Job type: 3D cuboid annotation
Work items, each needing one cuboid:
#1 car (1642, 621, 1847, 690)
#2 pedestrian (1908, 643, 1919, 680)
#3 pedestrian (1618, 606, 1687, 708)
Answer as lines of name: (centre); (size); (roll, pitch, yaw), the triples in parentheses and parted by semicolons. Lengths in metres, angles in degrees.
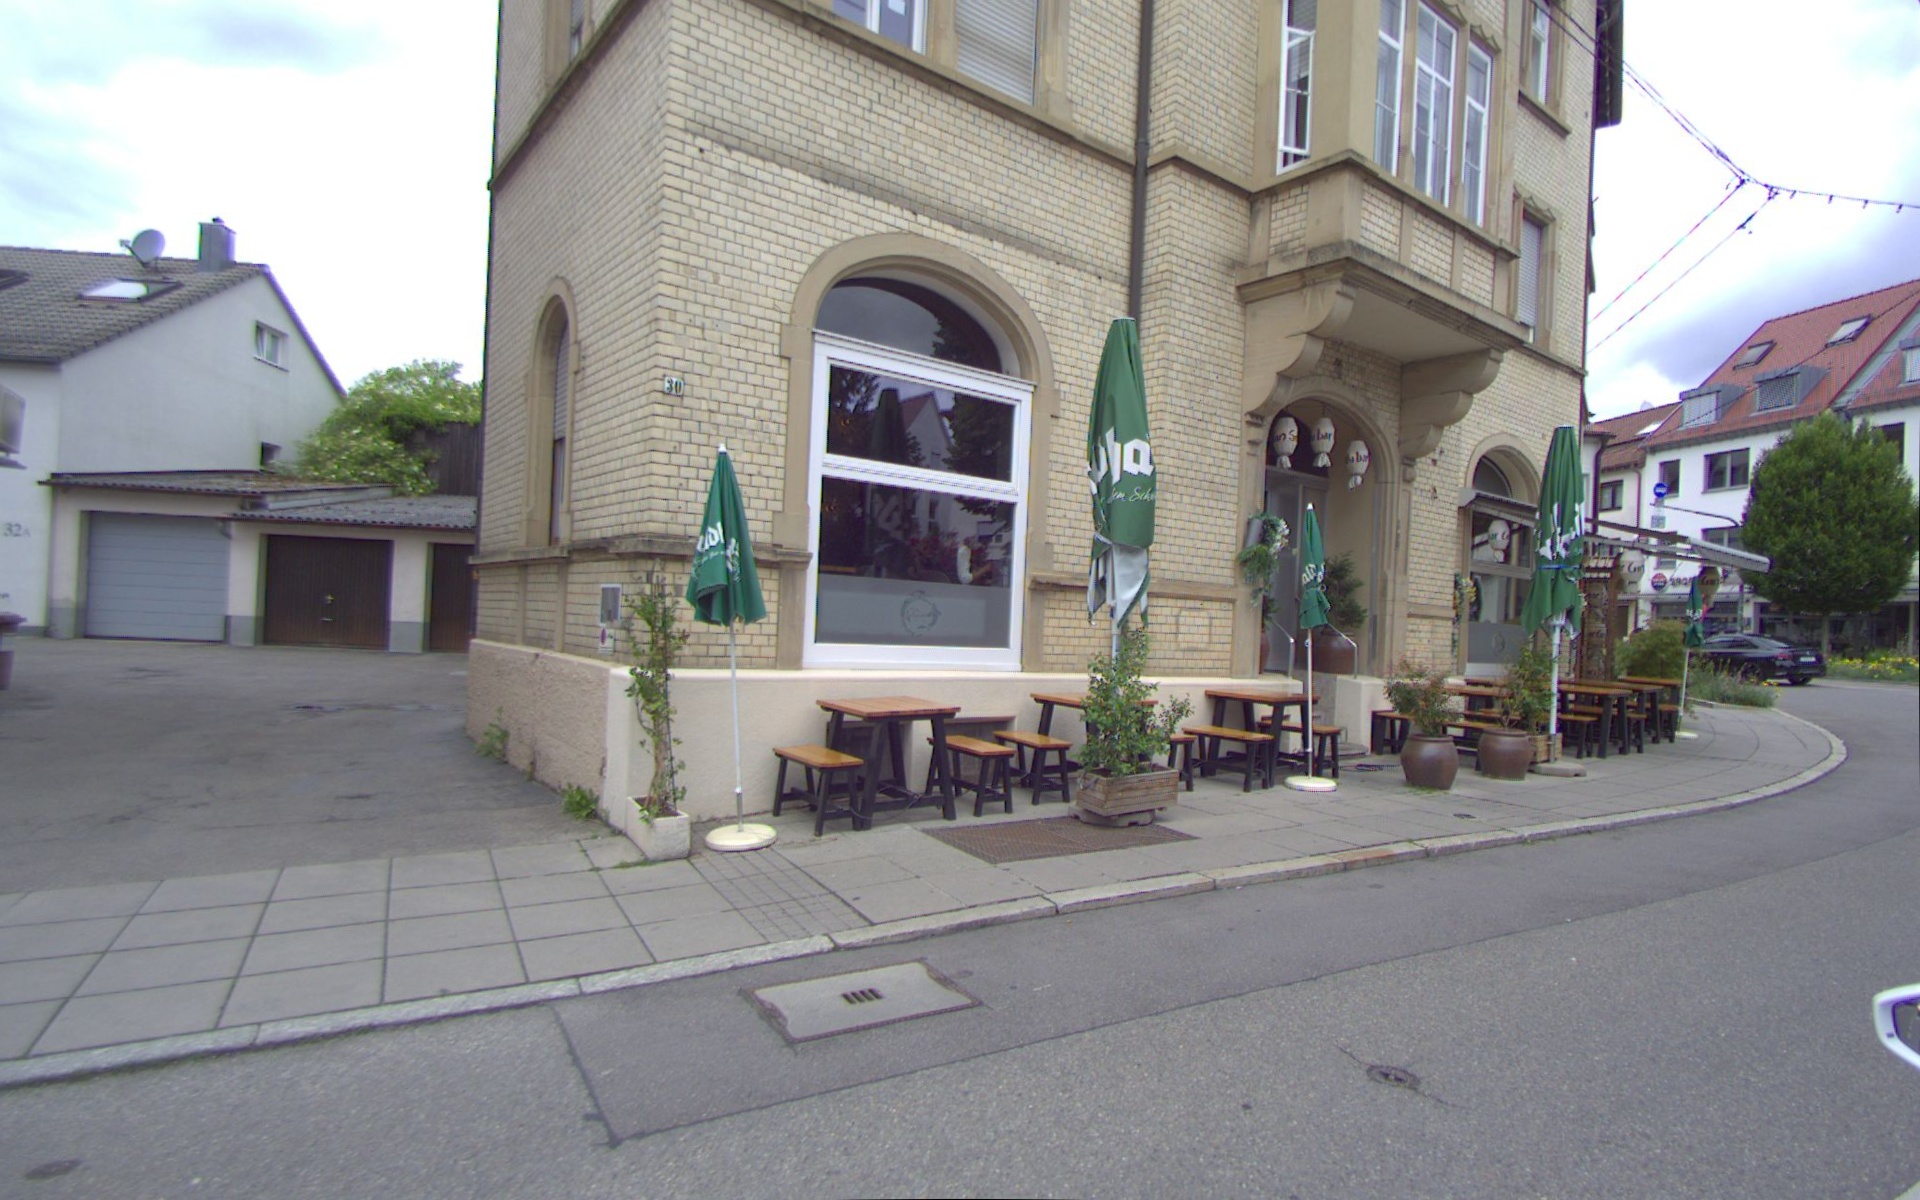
car: (22.616, 1.552, 29.203); (2.008, 1.697, 4.360); (2, 0, -15)
pedestrian: (33.965, 2.171, 35.480); (0.493, 1.288, 0.491); (2, 0, -12)
pedestrian: (14.480, 1.167, 21.041); (1.087, 2.040, 1.012); (2, 0, 32)
